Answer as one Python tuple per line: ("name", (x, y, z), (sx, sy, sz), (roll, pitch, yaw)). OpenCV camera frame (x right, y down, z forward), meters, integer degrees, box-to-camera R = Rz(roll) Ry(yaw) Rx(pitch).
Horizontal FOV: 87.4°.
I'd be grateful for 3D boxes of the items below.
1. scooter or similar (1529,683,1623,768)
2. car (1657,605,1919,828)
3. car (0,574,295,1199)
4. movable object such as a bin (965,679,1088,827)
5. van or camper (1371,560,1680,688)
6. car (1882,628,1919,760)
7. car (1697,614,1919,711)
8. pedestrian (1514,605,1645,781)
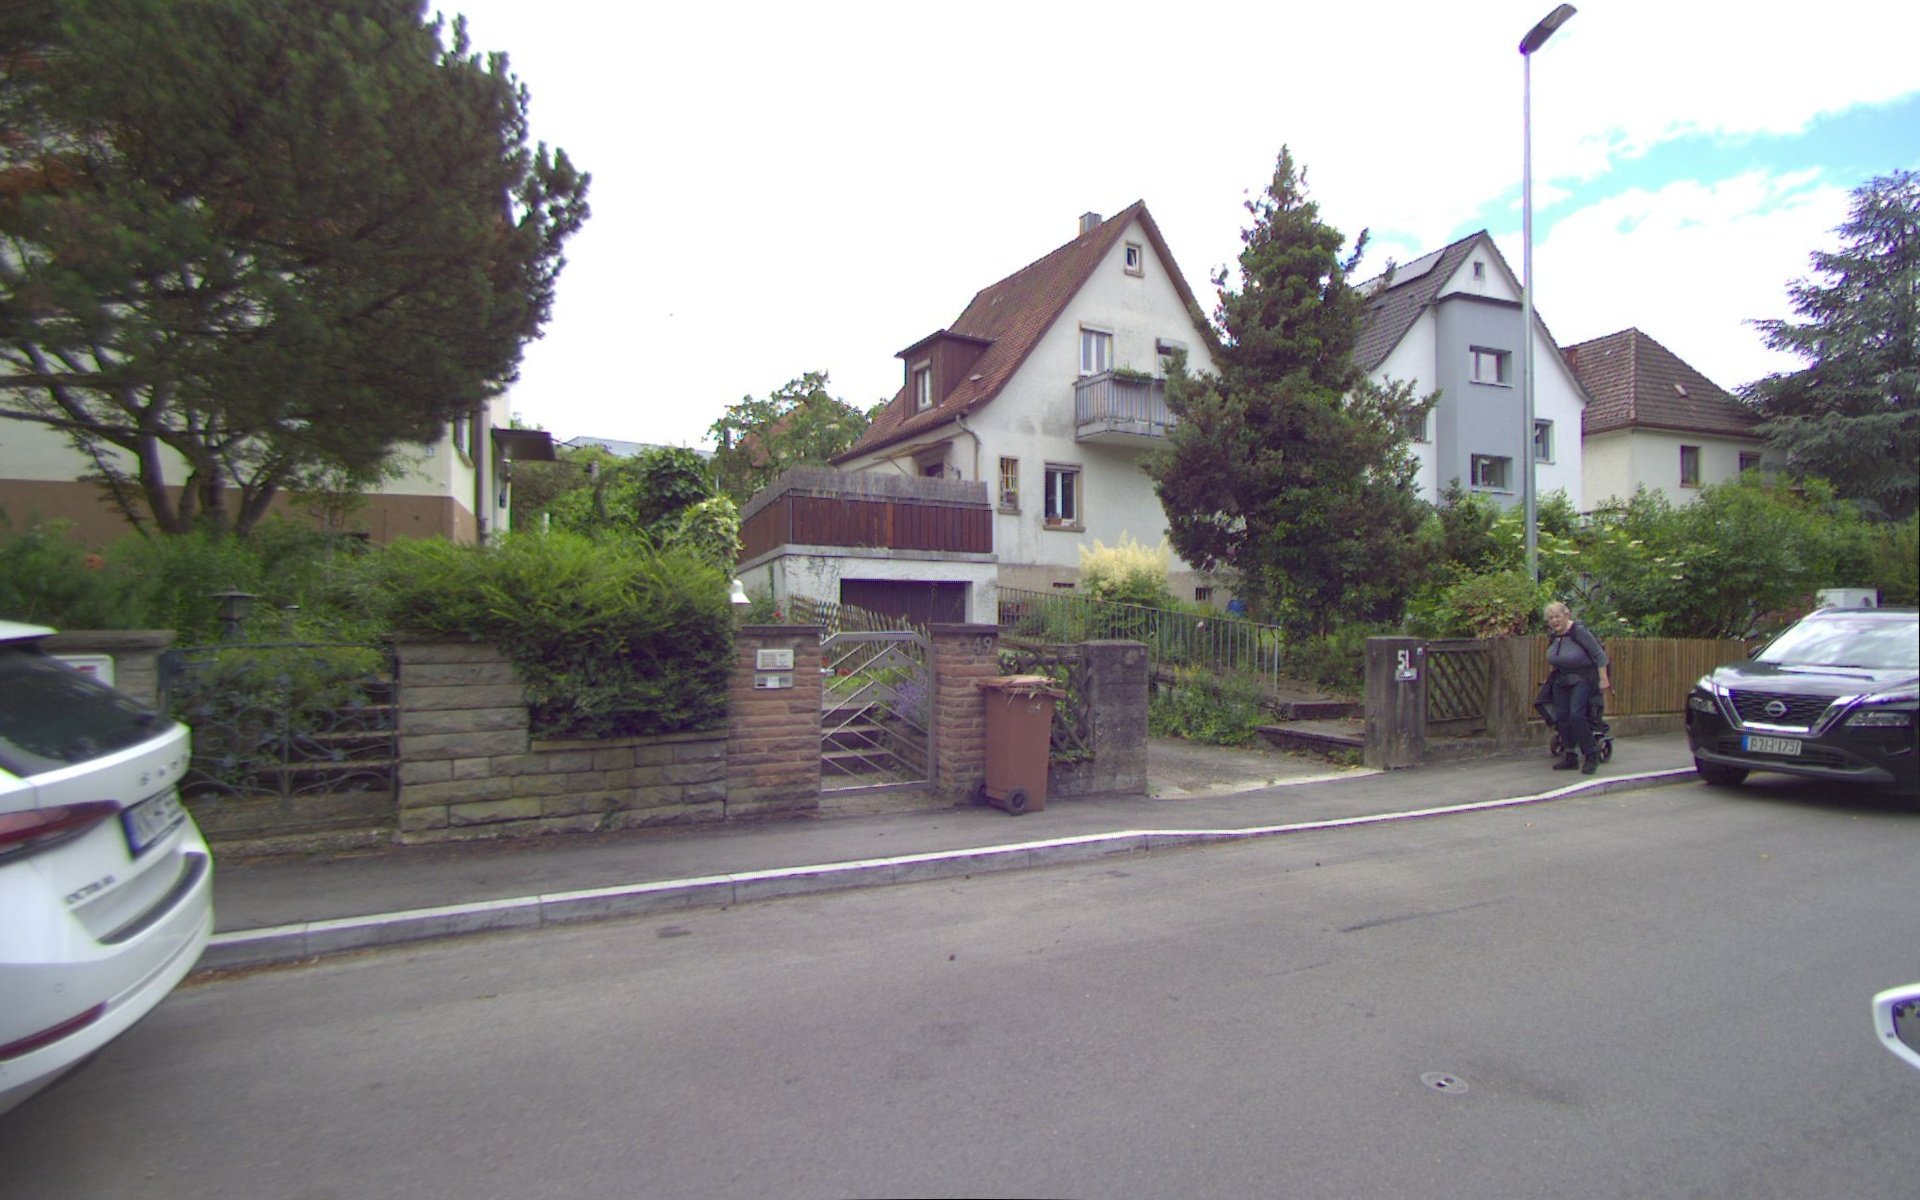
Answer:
("scooter or similar", (6.373, 1.282, 10.394), (0.703, 0.789, 0.568), (1, -1, -31))
("car", (8.678, 0.924, 9.443), (4.338, 1.686, 1.784), (1, -1, -29))
("car", (-4.072, 0.679, 1.889), (4.496, 1.531, 1.700), (1, -1, -27))
("movable object such as a bin", (0.474, 1.069, 7.228), (0.647, 0.945, 0.608), (1, 0, -30))
("van or camper", (13.366, 0.465, 24.502), (2.288, 2.686, 6.670), (1, 1, -20))
("car", (13.112, 1.131, 12.239), (3.900, 1.531, 1.699), (1, -1, -30))
("car", (16.857, 1.110, 19.370), (1.811, 1.568, 3.987), (1, 0, -15))
("pedestrian", (5.955, 0.857, 9.669), (0.810, 1.595, 0.766), (1, -1, -29))
